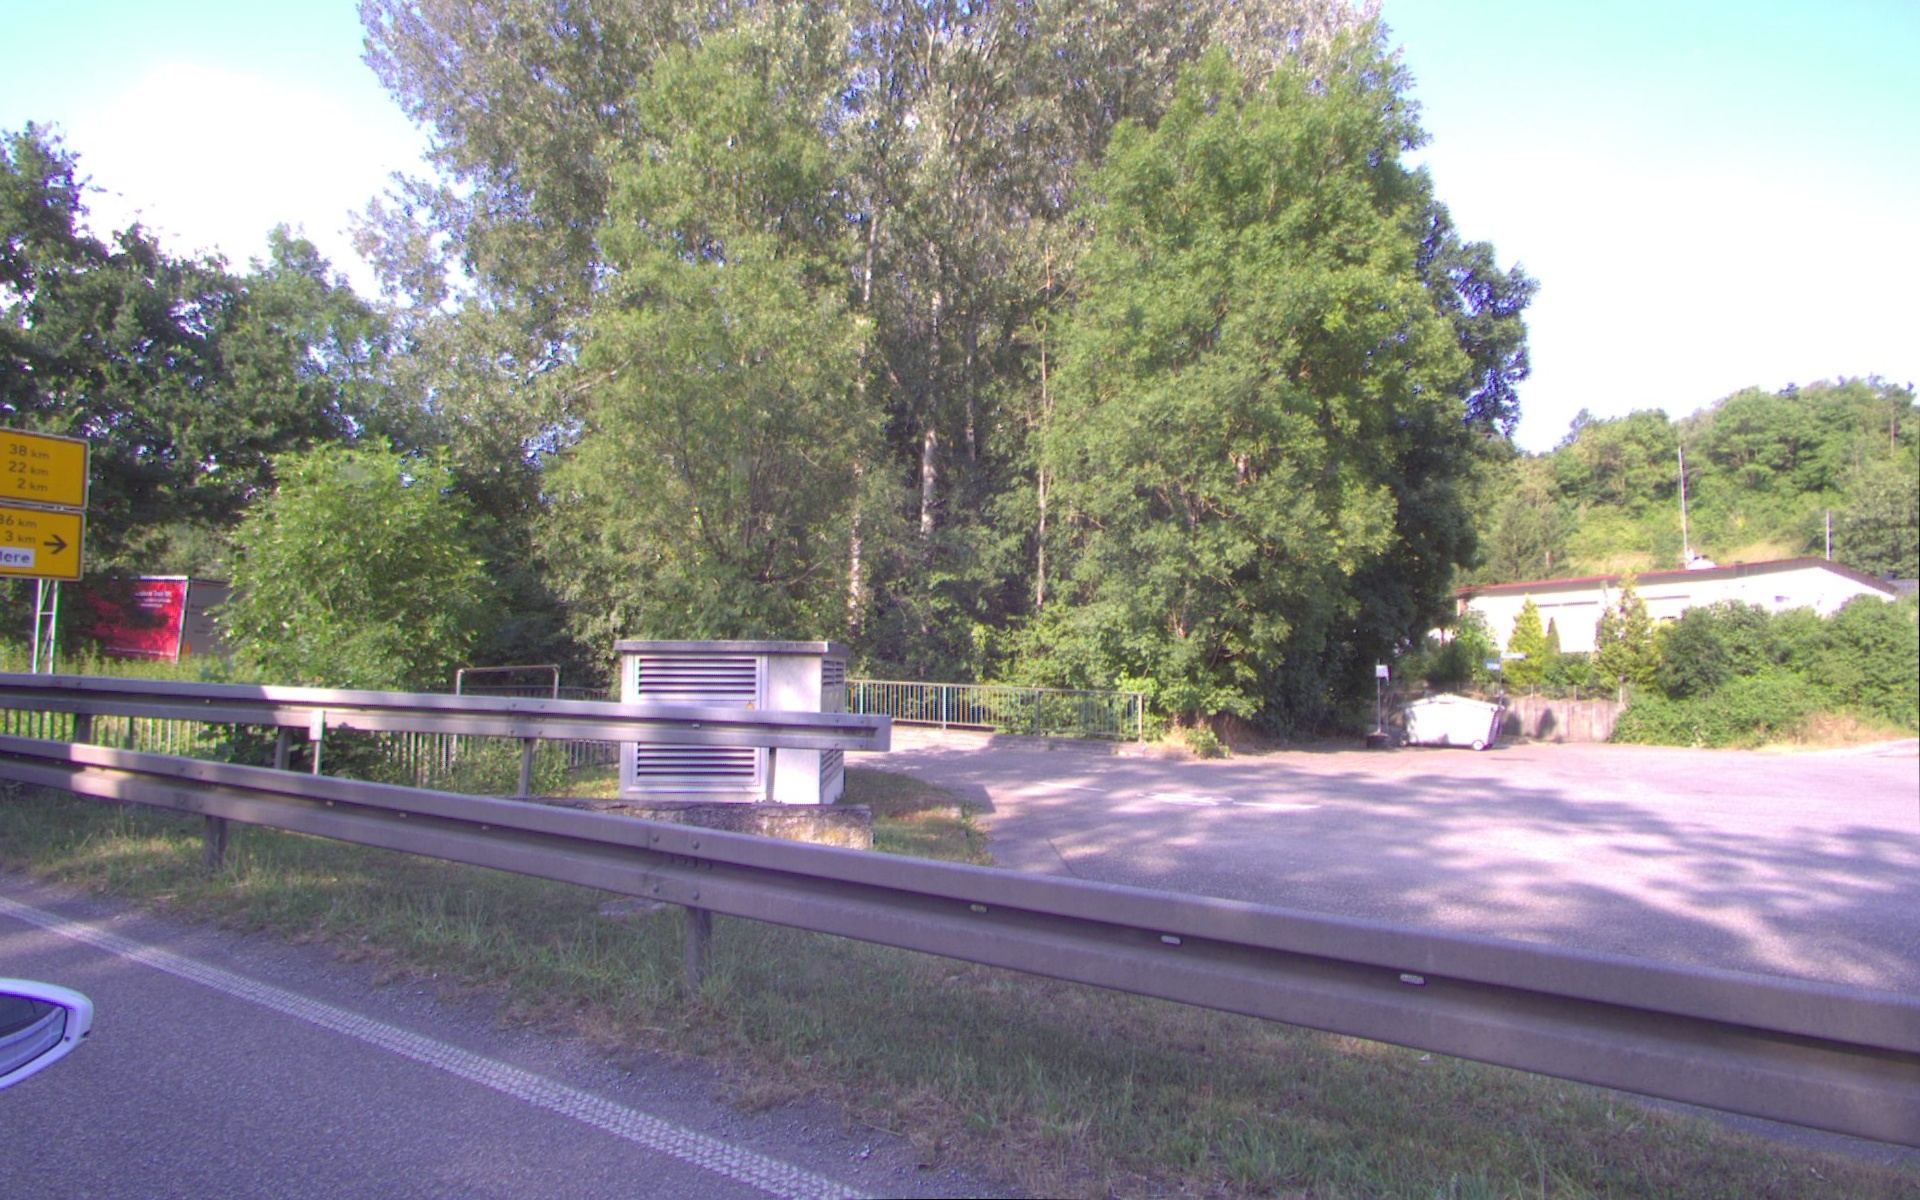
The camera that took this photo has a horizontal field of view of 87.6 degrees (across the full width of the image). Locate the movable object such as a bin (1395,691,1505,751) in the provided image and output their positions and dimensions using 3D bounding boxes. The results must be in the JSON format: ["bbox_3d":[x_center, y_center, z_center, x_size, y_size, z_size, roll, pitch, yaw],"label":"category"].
[{"bbox_3d":[13.072,3.191,26.716,2.521,1.436,1.265,-1,-5,32],"label":"movable object such as a bin"}]
